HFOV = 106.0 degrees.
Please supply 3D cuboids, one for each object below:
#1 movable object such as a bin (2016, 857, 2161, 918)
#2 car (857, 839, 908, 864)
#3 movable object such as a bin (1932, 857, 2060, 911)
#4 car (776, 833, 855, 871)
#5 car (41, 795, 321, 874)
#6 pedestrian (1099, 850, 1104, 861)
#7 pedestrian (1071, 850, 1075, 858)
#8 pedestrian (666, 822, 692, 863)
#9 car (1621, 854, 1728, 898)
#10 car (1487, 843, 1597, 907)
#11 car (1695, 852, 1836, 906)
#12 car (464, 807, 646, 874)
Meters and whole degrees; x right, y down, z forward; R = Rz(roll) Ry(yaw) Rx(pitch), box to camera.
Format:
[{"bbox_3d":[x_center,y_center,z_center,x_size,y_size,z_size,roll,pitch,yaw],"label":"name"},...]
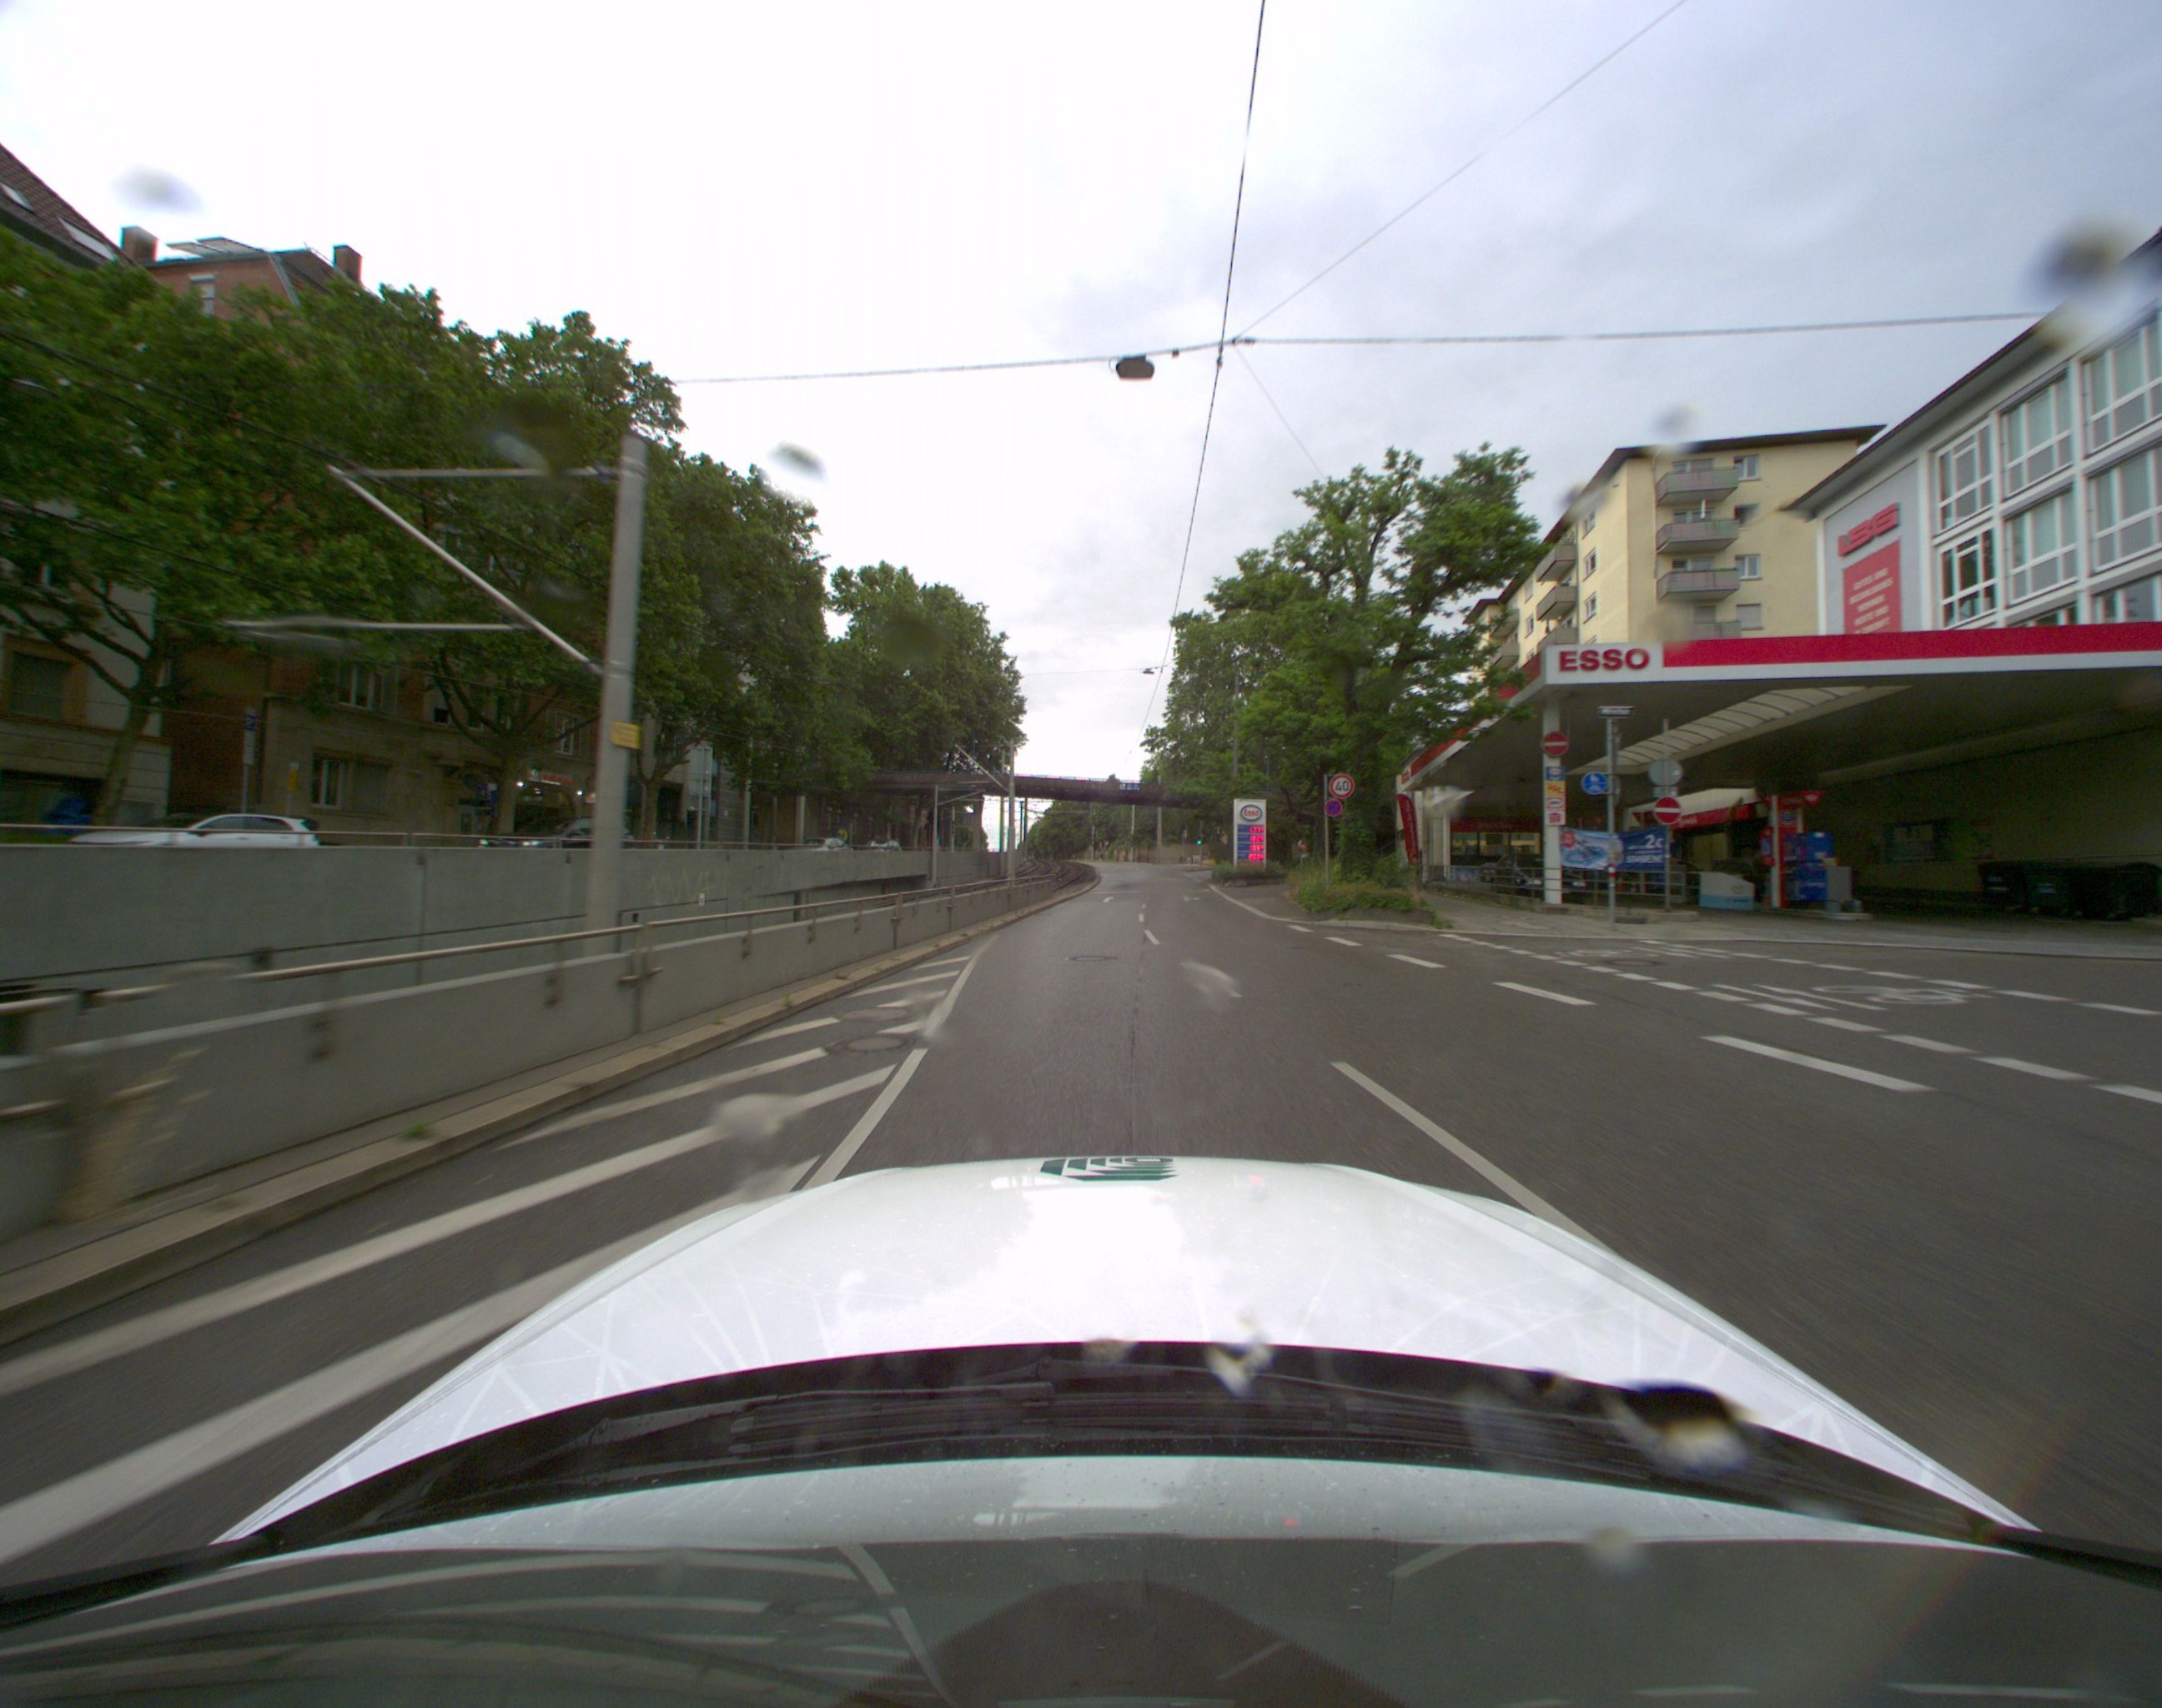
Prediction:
[{"bbox_3d":[25.417,0.804,20.528,1.155,1.425,2.516,0,0,12],"label":"movable object such as a bin"},{"bbox_3d":[-12.874,-0.160,52.949,1.784,1.510,4.116,2,0,7],"label":"car"},{"bbox_3d":[25.864,0.805,23.105,1.155,1.425,2.516,0,0,12],"label":"movable object such as a bin"},{"bbox_3d":[-11.579,-0.088,35.783,1.786,1.510,4.006,2,0,5],"label":"car"},{"bbox_3d":[-21.007,-0.422,19.320,1.785,1.611,4.119,2,0,6],"label":"car"},{"bbox_3d":[3.511,0.215,138.582,0.719,1.850,0.781,2,-1,-7],"label":"pedestrian"},{"bbox_3d":[-1.615,0.022,169.989,0.719,1.687,0.727,2,-1,-7],"label":"pedestrian"},{"bbox_3d":[-20.611,-0.583,41.739,0.665,2.014,0.937,3,-1,9],"label":"pedestrian"},{"bbox_3d":[22.856,0.861,31.565,1.782,1.510,4.245,3,-1,13],"label":"car"},{"bbox_3d":[12.851,0.580,22.966,1.759,1.623,3.881,-1,-1,15],"label":"car"},{"bbox_3d":[21.757,0.783,26.096,1.782,1.510,4.013,3,-1,13],"label":"car"},{"bbox_3d":[-16.382,-0.393,25.768,1.945,1.852,4.979,2,0,8],"label":"car"}]
